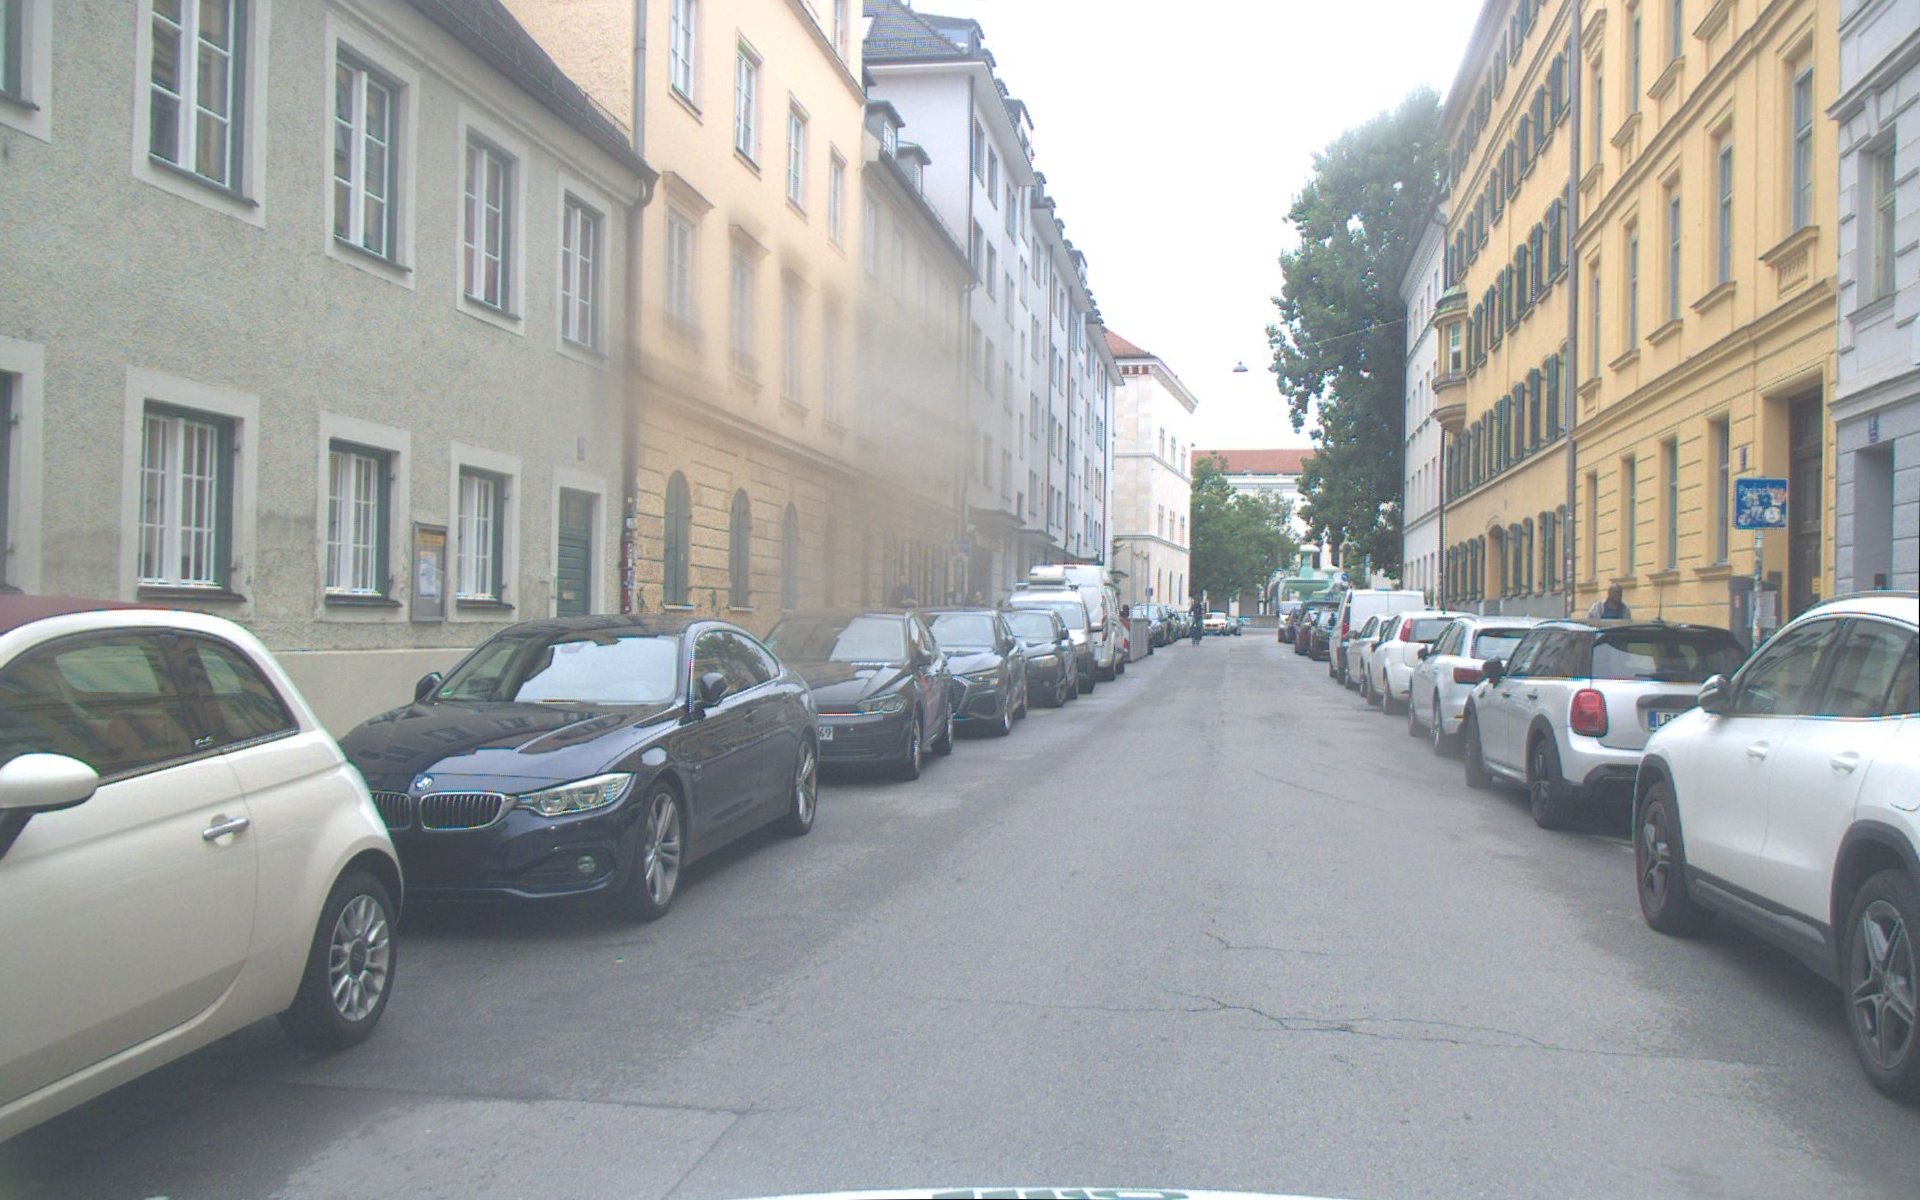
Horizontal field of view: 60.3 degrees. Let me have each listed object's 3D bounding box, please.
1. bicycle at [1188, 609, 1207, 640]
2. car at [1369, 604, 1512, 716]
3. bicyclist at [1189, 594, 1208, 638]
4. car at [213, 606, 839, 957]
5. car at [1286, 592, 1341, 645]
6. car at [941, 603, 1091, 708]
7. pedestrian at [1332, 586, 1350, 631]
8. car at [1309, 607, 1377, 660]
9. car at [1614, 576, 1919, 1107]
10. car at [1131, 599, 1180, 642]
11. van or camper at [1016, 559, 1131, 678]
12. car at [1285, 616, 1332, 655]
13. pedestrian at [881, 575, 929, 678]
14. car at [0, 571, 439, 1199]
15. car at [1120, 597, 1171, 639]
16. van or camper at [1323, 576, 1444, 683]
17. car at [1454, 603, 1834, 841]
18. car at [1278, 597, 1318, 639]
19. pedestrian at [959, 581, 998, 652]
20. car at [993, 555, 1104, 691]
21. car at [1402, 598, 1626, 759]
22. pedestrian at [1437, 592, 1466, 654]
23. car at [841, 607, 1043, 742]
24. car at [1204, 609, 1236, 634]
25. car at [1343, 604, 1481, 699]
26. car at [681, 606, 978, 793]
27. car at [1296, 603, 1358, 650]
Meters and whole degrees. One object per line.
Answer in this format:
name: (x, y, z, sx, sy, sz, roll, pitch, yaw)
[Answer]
bicycle: (9.152, 0.924, 63.671, 0.717, 1.171, 2.001, 1, 0, 9)
car: (7.117, 0.834, 24.812, 1.588, 1.536, 3.764, 1, 0, 9)
bicyclist: (9.178, 0.599, 63.713, 0.672, 1.656, 0.853, 1, 0, 9)
car: (-2.032, 0.768, 9.188, 1.818, 1.426, 4.273, 1, 0, 8)
car: (13.094, 0.708, 61.500, 1.807, 1.807, 4.204, 3, 0, 10)
car: (0.945, 0.782, 25.359, 1.818, 1.426, 4.273, 1, 0, 8)
pedestrian: (19.498, 0.428, 84.702, 0.776, 2.236, 0.814, 1, 0, 10)
car: (11.323, 0.950, 49.082, 1.708, 1.489, 4.003, 1, 0, 10)
car: (4.023, 0.754, 6.589, 1.680, 1.629, 4.326, 1, 0, 8)
car: (8.200, 0.825, 69.172, 1.832, 1.717, 4.524, -1, 0, 9)
van or camper: (2.529, 0.365, 35.570, 1.951, 2.352, 5.483, 0, 0, 9)
car: (15.776, 1.592, 74.987, 1.769, 1.628, 4.218, 2, 0, 8)
pedestrian: (-1.105, 0.520, 33.359, 0.788, 2.049, 0.750, 0, 0, 11)
car: (-2.880, 0.687, 4.400, 1.535, 1.541, 3.426, 1, 0, 7)
car: (7.218, 0.677, 64.006, 1.735, 1.566, 4.162, -1, 0, 9)
van or camper: (8.835, 0.578, 34.870, 1.951, 2.049, 5.237, 1, 0, 9)
car: (5.074, 0.800, 12.838, 1.680, 1.536, 3.939, 1, 0, 6)
car: (16.588, 0.872, 81.017, 1.842, 1.958, 4.878, 1, 0, 12)
pedestrian: (0.474, 0.408, 41.175, 0.788, 1.742, 1.022, 1, 0, 11)
car: (1.662, 0.394, 30.169, 1.818, 2.240, 4.563, 1, 0, 4)
car: (5.976, 0.766, 18.308, 1.680, 1.536, 4.472, 1, 0, 10)
pedestrian: (13.612, 0.629, 45.810, 0.584, 1.667, 0.897, -2, -1, 8)
car: (-0.100, 0.818, 20.265, 1.818, 1.426, 4.273, 1, 0, 8)
car: (17.405, 1.445, 110.546, 1.740, 1.562, 4.214, -1, -2, 14)
car: (7.988, 0.856, 29.586, 1.777, 1.536, 4.591, 1, 0, 8)
car: (-1.027, 0.794, 15.294, 1.818, 1.426, 4.273, 1, 0, 8)
car: (12.087, 0.856, 54.717, 1.677, 1.449, 4.461, 1, 0, 9)
